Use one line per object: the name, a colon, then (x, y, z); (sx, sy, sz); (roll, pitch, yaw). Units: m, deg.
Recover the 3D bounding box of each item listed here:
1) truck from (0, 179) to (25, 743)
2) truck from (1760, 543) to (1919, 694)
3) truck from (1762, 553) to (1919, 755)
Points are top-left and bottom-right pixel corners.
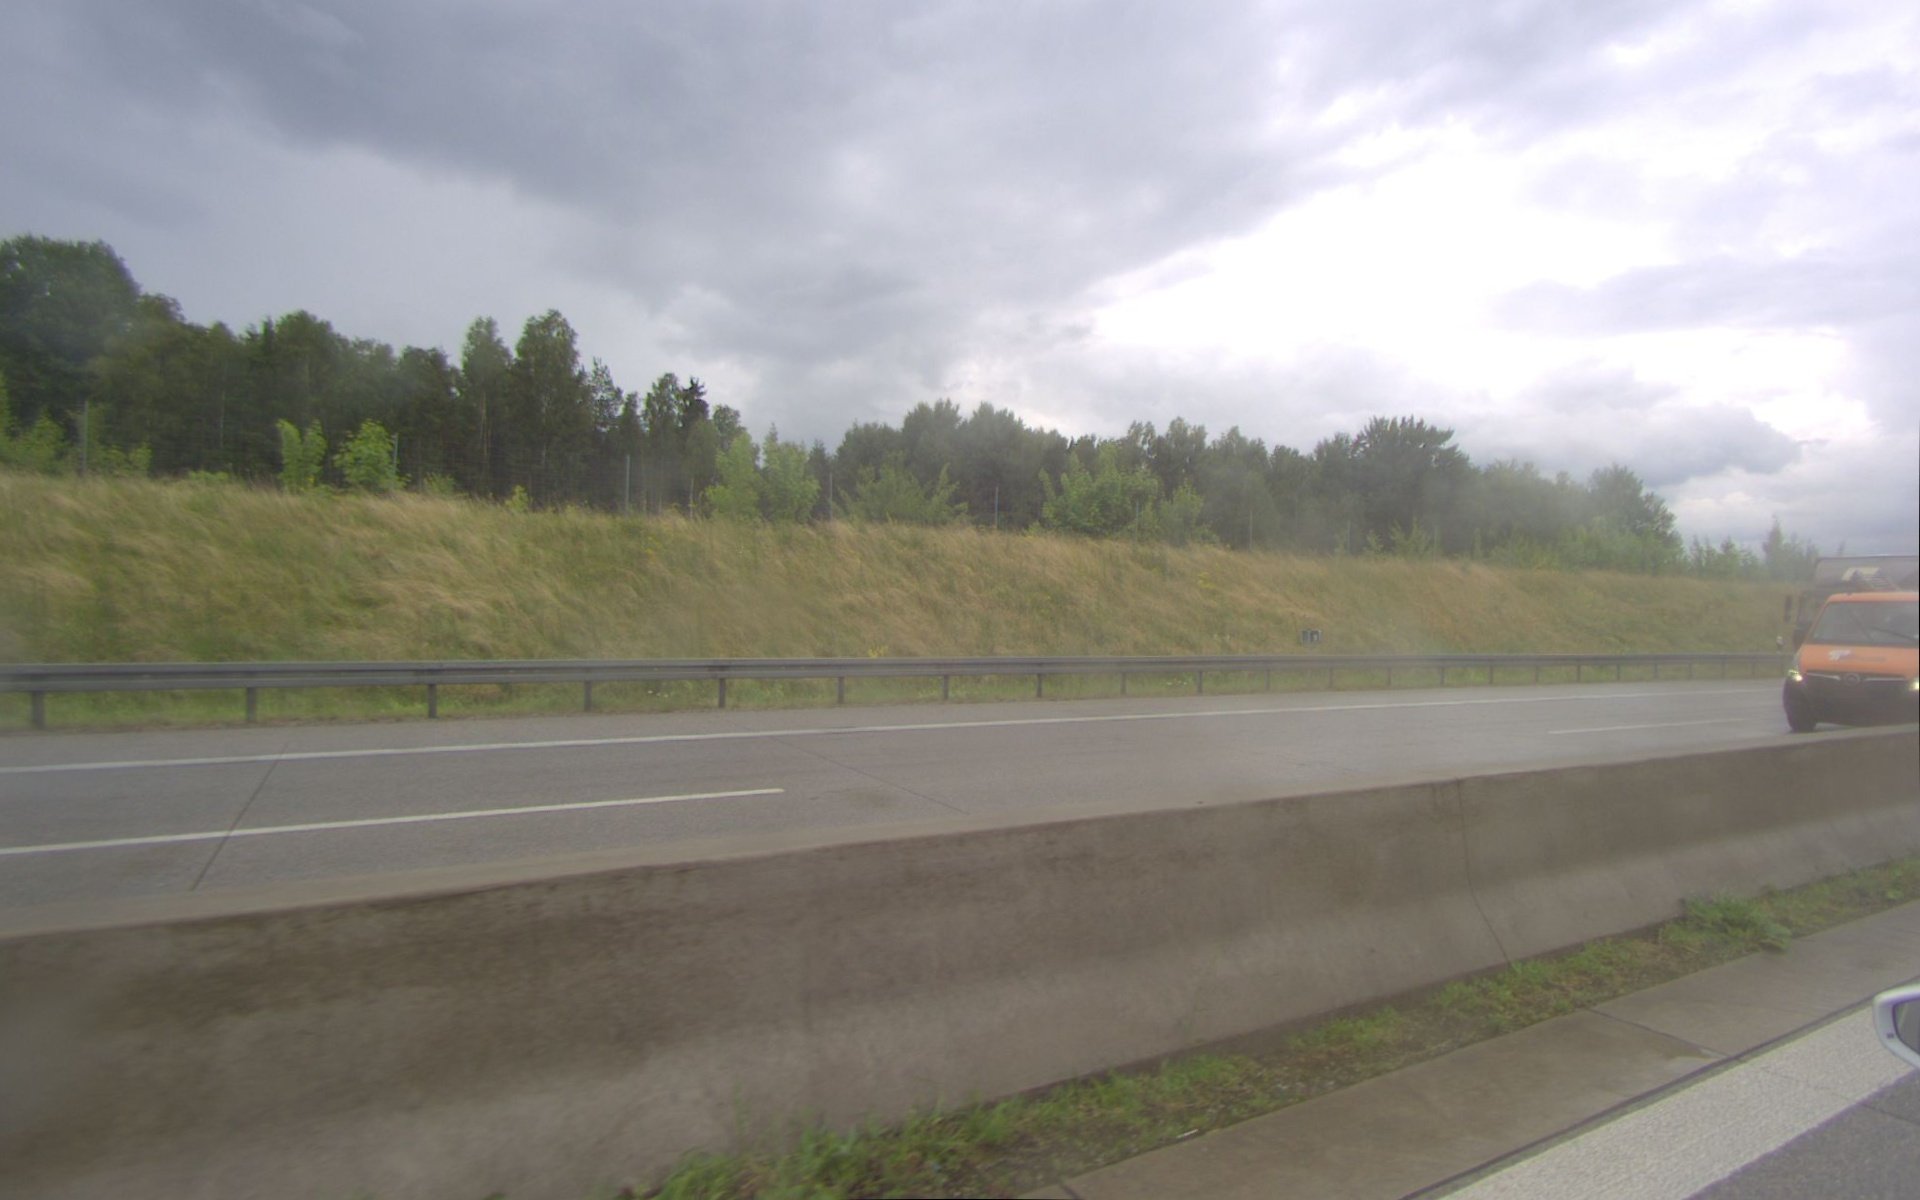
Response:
truck: (-10.228, -1.164, 5.752); (6.546, 4.581, 2.808); (1, 0, -30)
truck: (25.500, 0.531, 27.216); (8.265, 3.580, 3.153); (1, -1, -30)
truck: (15.757, 0.825, 16.212); (6.088, 2.819, 2.322); (1, -1, -30)
